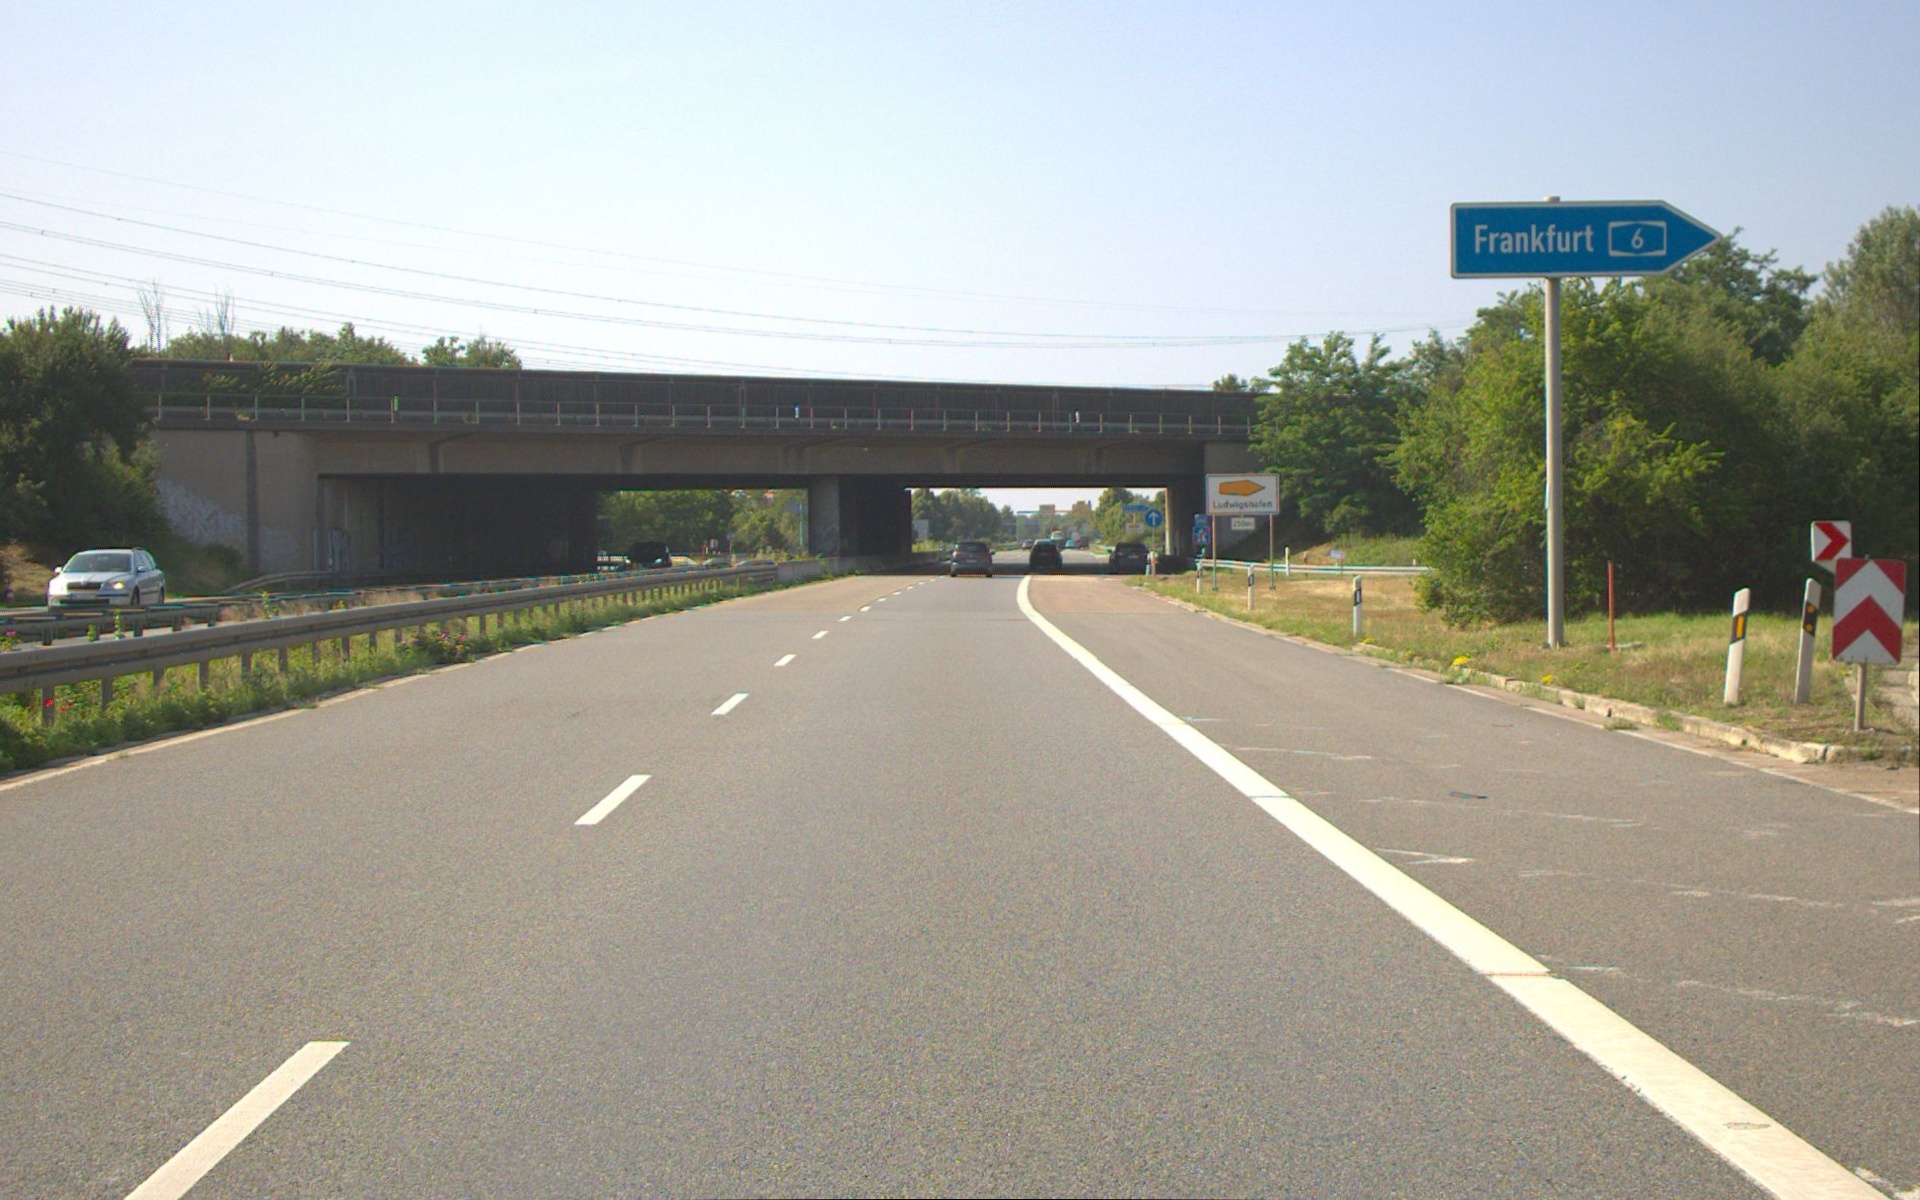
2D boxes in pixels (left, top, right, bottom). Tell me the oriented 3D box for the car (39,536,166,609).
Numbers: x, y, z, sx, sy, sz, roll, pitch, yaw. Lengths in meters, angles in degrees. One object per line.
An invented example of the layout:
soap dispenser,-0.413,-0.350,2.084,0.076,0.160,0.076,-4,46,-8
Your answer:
car,-17.716,-0.593,71.170,1.674,1.405,3.763,1,1,0

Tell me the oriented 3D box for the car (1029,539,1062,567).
car,5.019,-2.795,202.717,1.850,1.639,4.000,0,1,1

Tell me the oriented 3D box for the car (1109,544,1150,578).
car,8.335,-1.933,169.333,1.850,1.639,4.000,0,1,1

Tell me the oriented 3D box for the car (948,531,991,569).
car,0.415,-2.208,150.851,1.850,1.639,4.000,0,1,1

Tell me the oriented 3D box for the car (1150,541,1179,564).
car,14.227,-3.309,239.228,1.850,1.639,4.000,0,1,1

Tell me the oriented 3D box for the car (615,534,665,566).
car,-14.836,-2.339,159.521,1.962,1.405,3.636,-1,1,0
